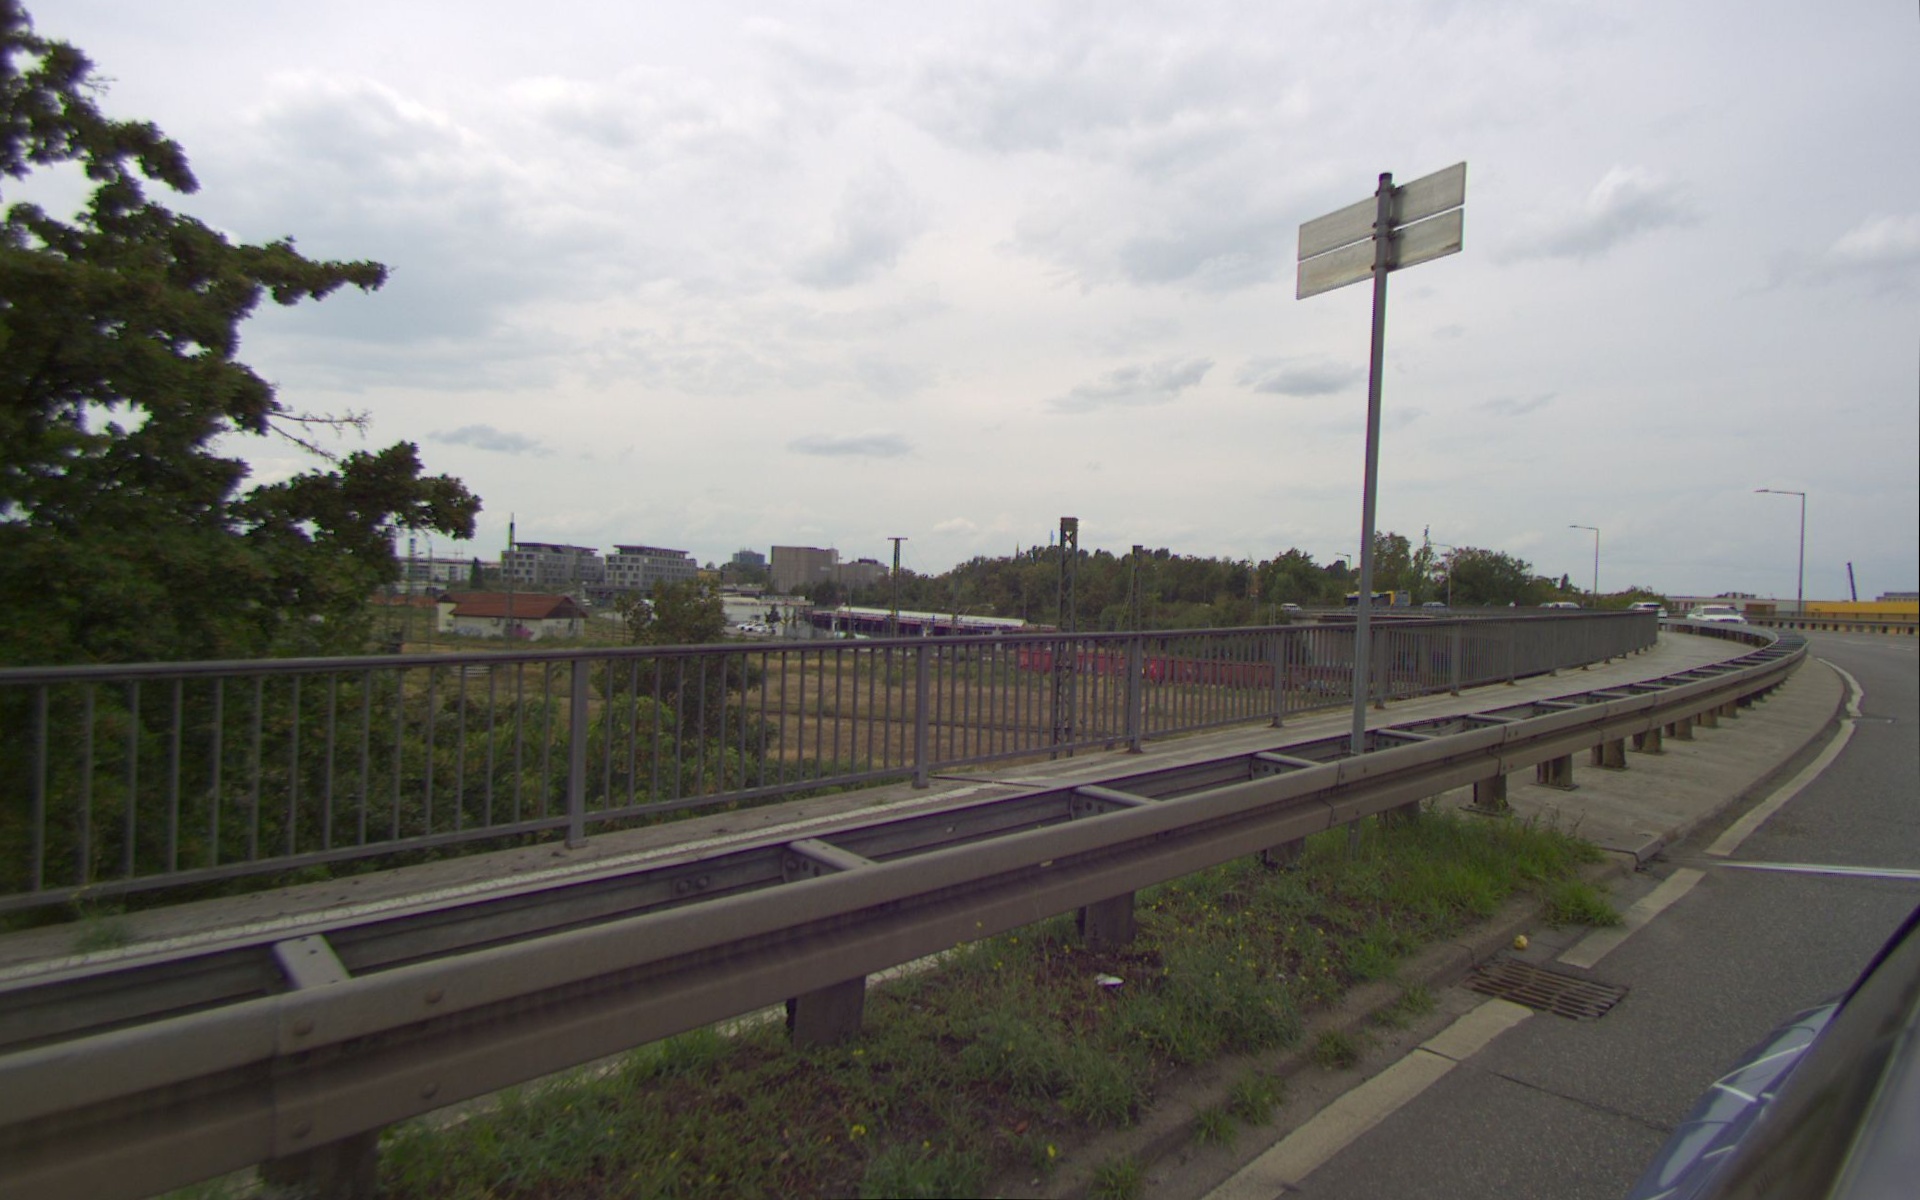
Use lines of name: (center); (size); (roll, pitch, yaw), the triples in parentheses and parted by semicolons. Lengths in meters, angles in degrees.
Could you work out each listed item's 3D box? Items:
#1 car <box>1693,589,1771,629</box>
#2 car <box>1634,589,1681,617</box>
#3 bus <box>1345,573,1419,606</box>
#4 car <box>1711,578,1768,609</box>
car: (39.824, 0.445, 52.308); (1.913, 1.472, 3.871); (2, 8, 17)
car: (51.109, 0.173, 74.261); (1.925, 1.612, 4.741); (-1, 5, 23)
bus: (53.244, -1.463, 128.287); (2.982, 3.271, 12.973); (-3, 4, -4)
car: (47.453, -0.423, 61.700); (1.795, 1.494, 4.351); (-1, 5, 24)
